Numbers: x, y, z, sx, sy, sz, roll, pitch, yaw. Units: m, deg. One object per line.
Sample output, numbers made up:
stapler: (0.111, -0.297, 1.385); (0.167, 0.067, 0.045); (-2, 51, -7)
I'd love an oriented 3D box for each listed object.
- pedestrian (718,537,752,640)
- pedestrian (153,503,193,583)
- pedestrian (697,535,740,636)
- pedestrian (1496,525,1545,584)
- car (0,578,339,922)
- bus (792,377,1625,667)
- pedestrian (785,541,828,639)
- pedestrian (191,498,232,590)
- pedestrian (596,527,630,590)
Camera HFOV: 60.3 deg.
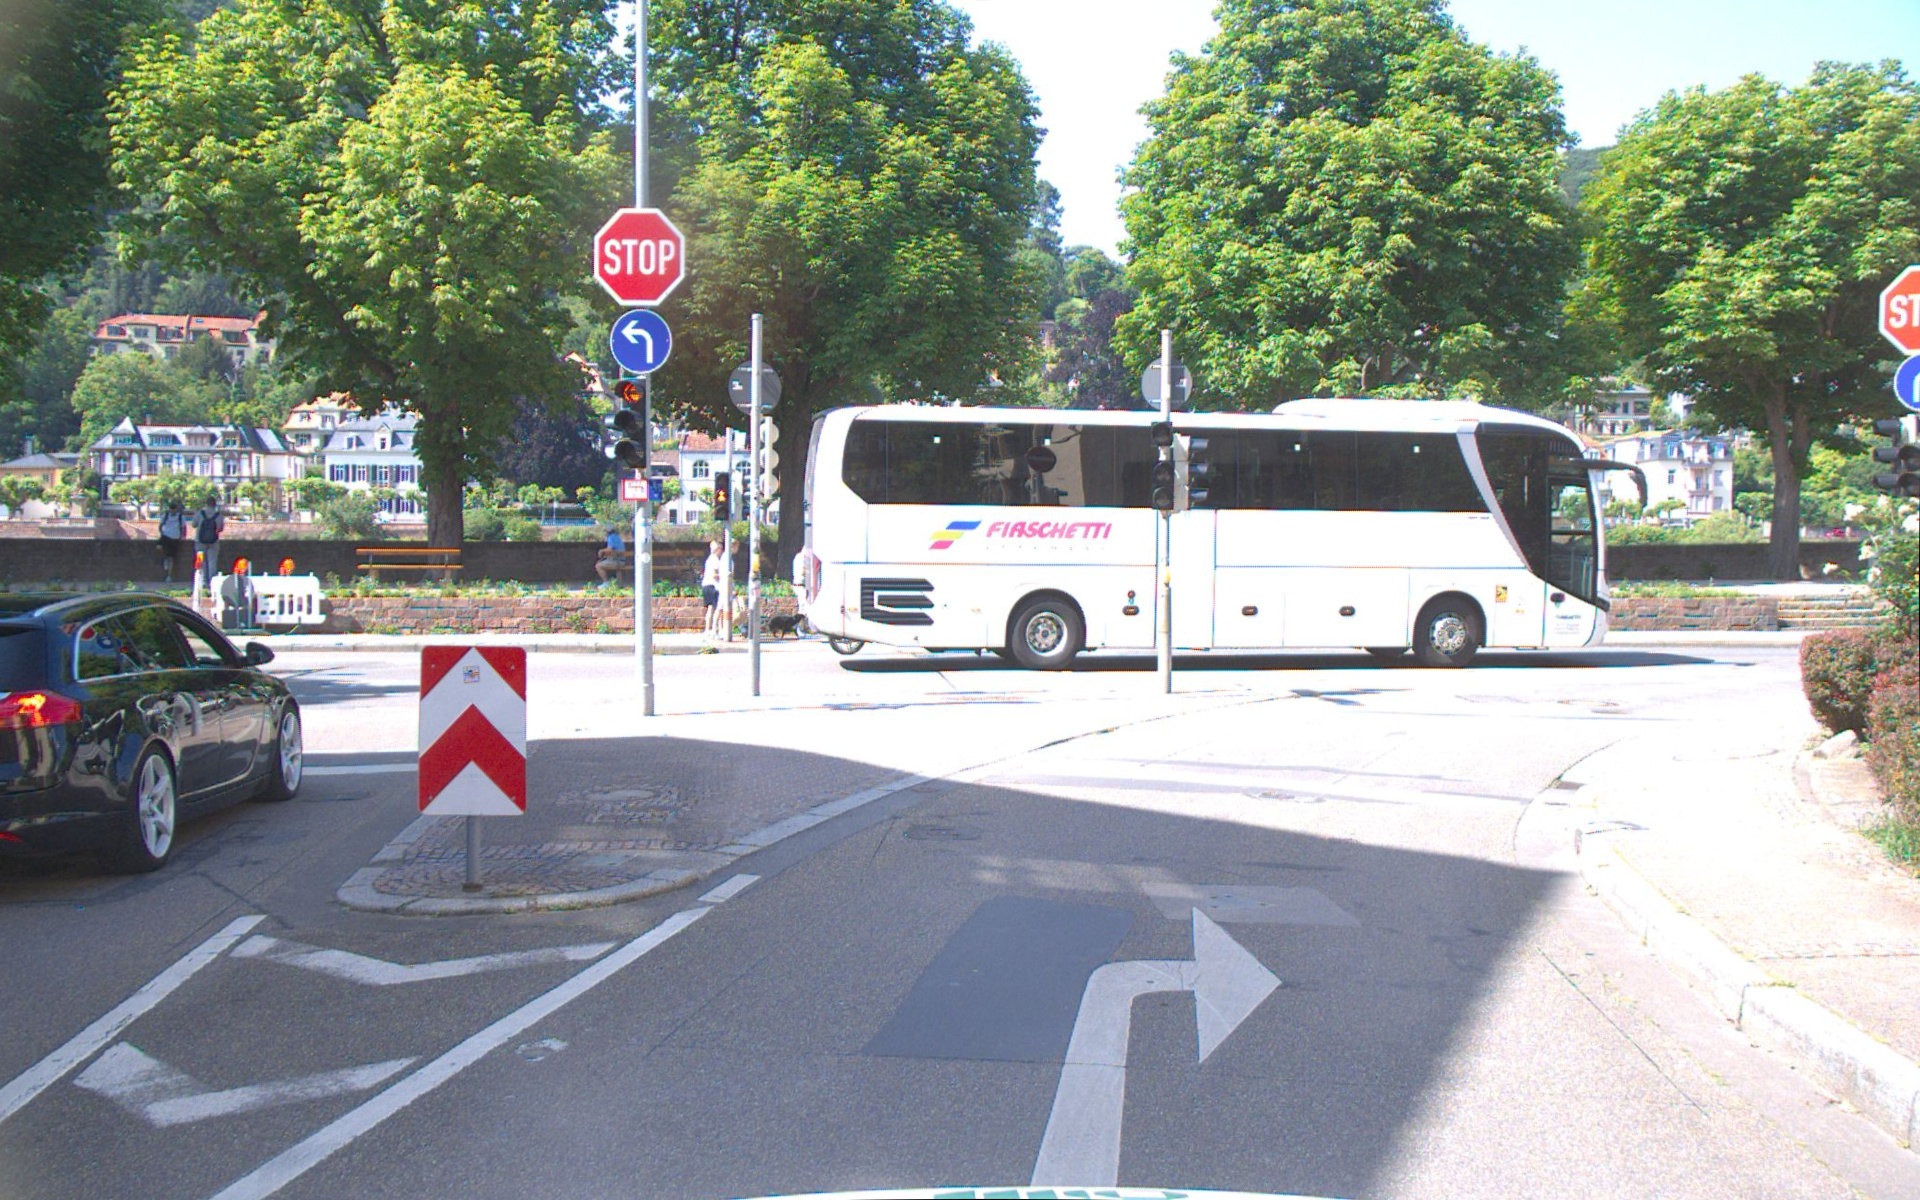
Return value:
pedestrian: (-4.048, -0.211, 29.763); (0.567, 1.833, 0.704); (0, 1, -5)
pedestrian: (-17.683, -1.268, 37.158); (0.697, 1.762, 0.753); (0, 0, -18)
pedestrian: (-4.463, -0.273, 30.612); (0.708, 1.833, 0.633); (-1, 0, -5)
pedestrian: (12.370, -0.999, 36.515); (0.782, 1.232, 0.714); (2, -2, -5)
car: (-5.068, 0.662, 9.635); (1.682, 1.487, 4.716); (-2, 1, -8)
bus: (3.562, -1.065, 24.468); (11.917, 3.854, 2.901); (0, 1, -10)
pedestrian: (-2.862, -0.185, 30.856); (0.676, 1.800, 0.715); (-1, 0, -14)
pedestrian: (-15.627, -1.161, 34.520); (0.753, 1.890, 0.750); (0, 0, -26)
pedestrian: (-7.004, -0.838, 33.334); (0.631, 1.249, 0.412); (0, 1, -19)
